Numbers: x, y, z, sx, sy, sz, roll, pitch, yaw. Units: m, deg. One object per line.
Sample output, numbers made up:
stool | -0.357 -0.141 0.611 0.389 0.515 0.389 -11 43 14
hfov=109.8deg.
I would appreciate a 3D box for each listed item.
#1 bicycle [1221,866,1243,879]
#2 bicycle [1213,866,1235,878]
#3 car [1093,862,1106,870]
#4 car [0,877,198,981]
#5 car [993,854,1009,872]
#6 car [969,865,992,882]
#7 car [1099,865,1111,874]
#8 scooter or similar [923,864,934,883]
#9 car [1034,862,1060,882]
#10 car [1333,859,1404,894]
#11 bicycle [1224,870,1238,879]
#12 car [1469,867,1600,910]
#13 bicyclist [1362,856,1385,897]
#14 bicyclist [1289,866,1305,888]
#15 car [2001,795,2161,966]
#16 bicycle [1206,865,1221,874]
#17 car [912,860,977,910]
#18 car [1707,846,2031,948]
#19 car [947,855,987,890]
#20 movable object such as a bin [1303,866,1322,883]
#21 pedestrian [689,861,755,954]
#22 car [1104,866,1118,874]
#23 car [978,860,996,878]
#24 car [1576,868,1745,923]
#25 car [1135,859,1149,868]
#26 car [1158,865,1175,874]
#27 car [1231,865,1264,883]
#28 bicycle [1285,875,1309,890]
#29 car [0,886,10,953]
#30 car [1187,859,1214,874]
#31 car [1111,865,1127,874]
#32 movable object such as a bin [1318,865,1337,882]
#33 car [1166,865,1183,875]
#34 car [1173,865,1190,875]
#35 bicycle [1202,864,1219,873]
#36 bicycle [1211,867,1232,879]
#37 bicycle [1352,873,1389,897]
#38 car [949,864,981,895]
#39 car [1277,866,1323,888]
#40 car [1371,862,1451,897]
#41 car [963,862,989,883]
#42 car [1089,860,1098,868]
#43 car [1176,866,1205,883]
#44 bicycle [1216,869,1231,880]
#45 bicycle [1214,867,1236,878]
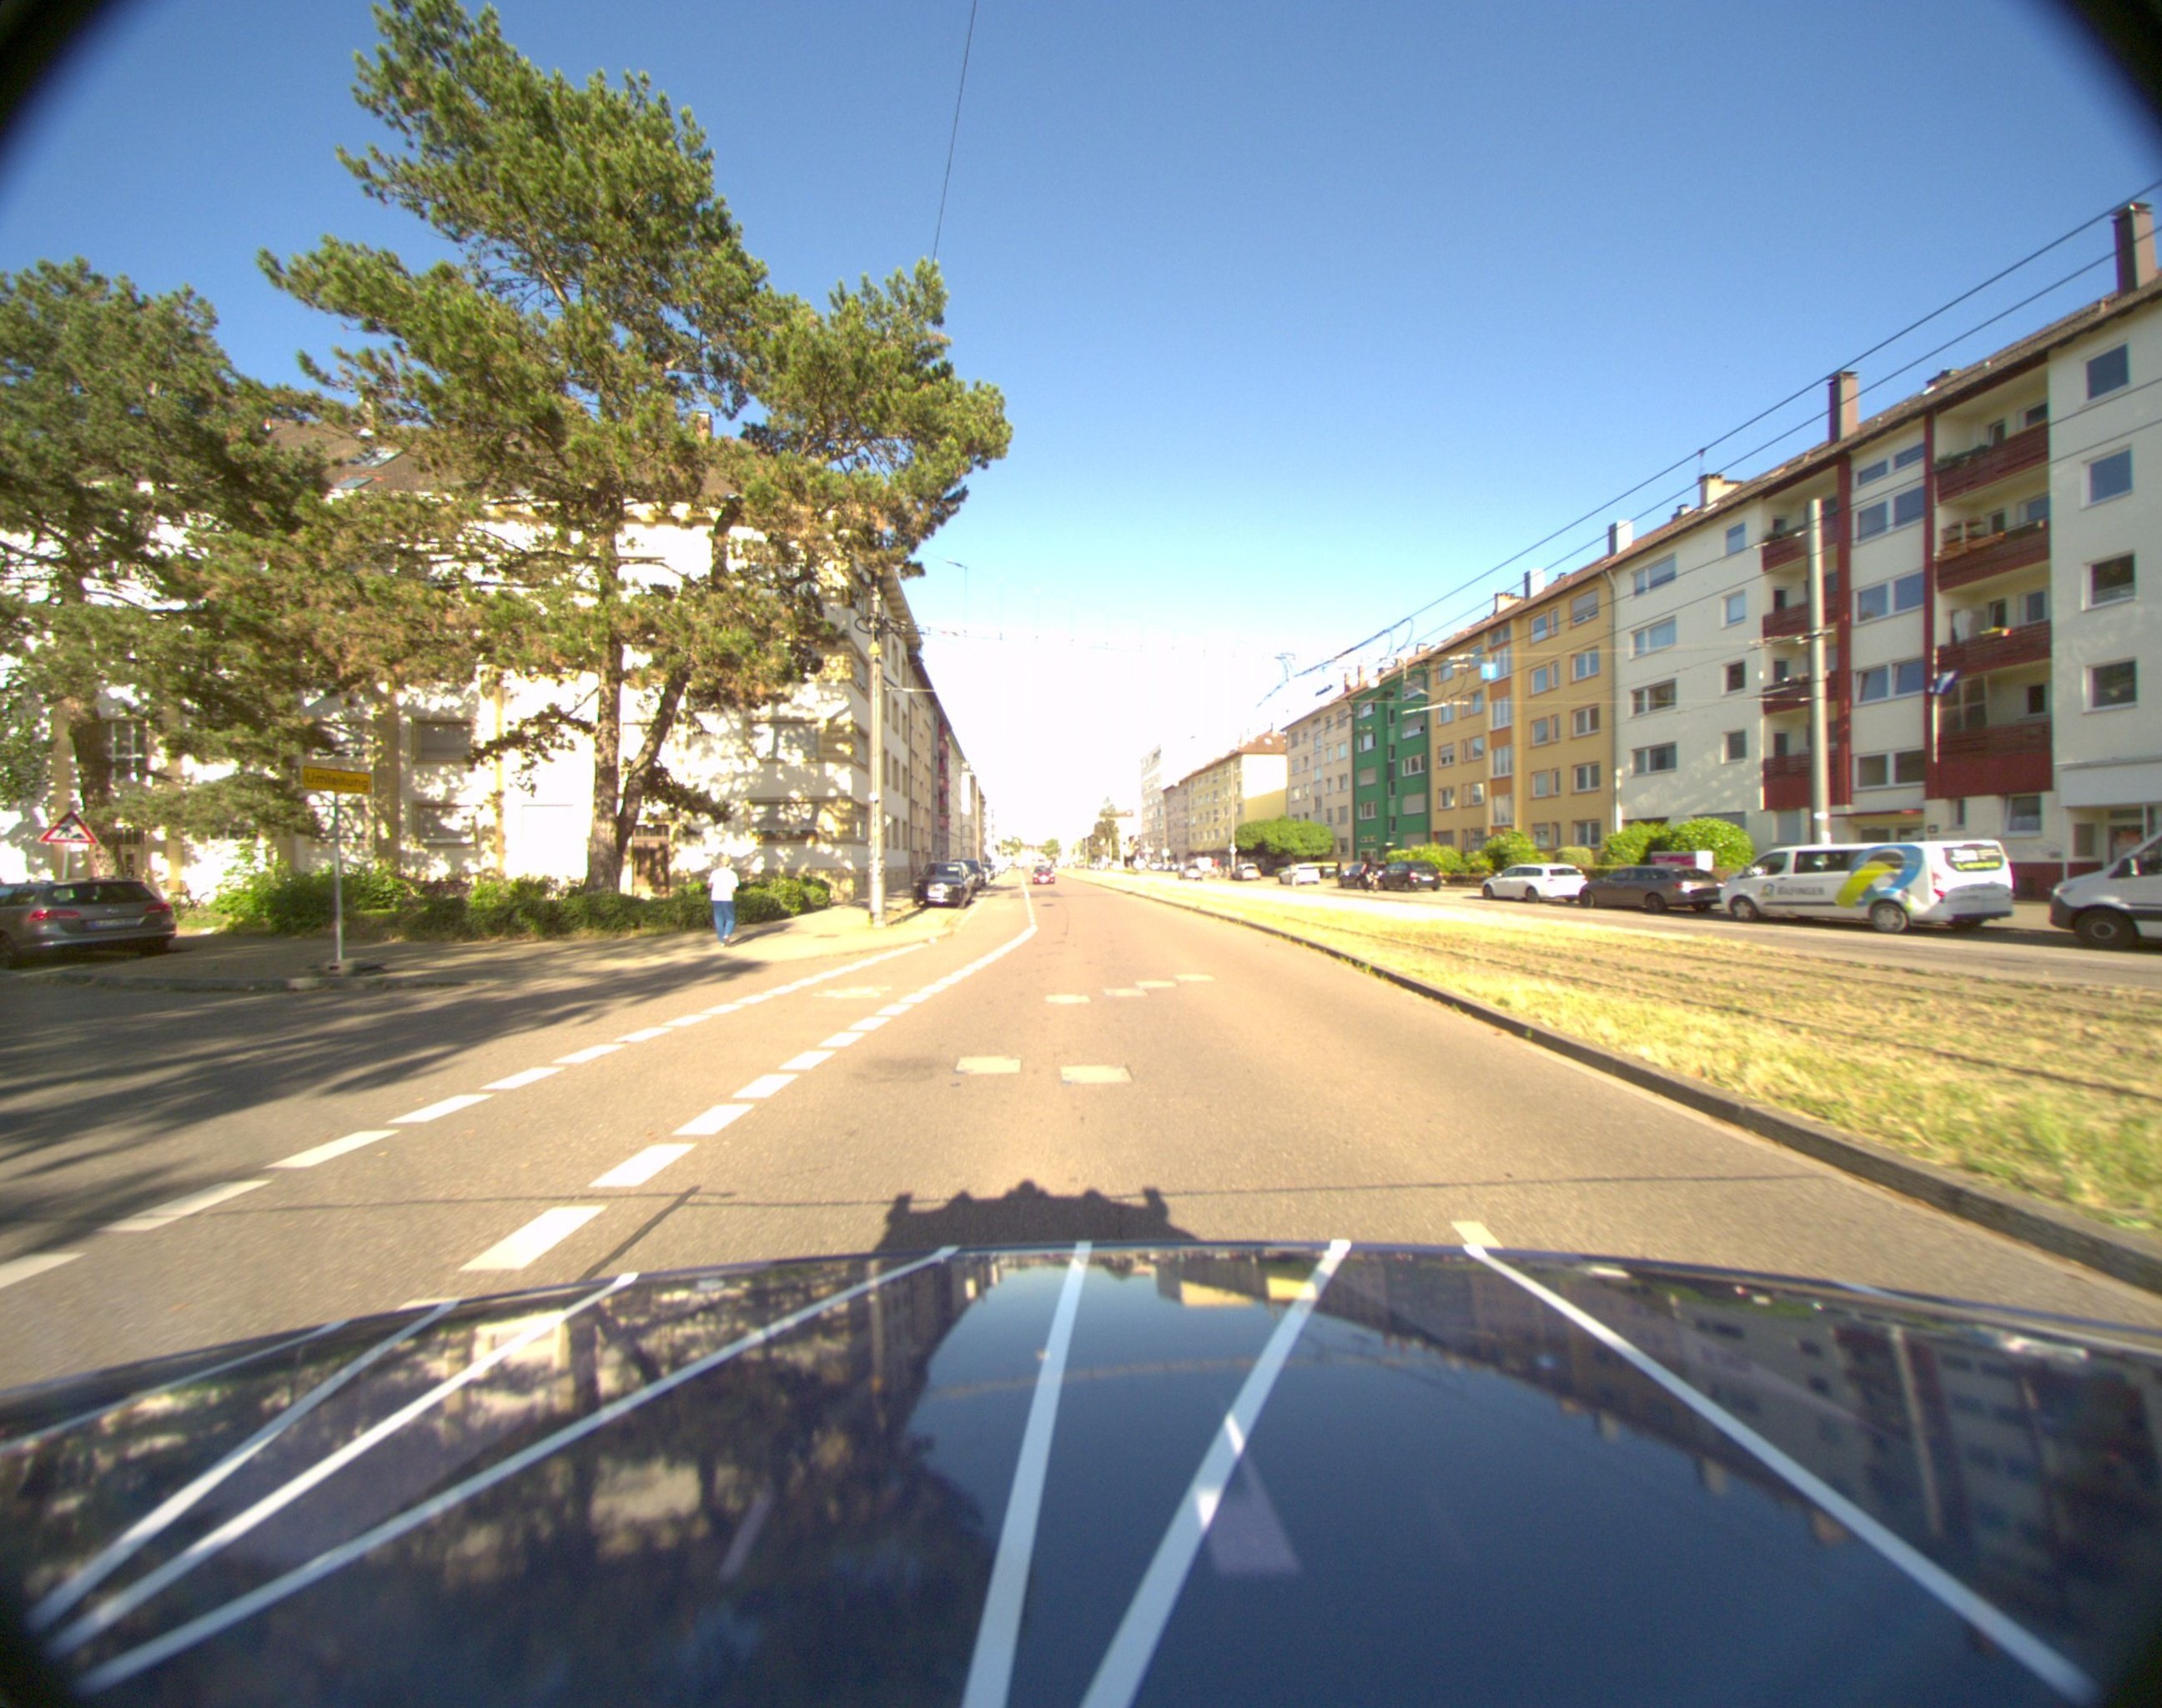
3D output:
bicycle | 14.883 1.821 74.901 2.050 1.086 0.616 -3 0 22
bicycle | 14.496 1.802 76.924 2.053 1.086 0.615 -3 0 1
car | 3.625 2.407 151.423 1.862 1.541 4.238 2 -1 -7
car | -18.437 1.252 13.696 4.295 1.493 1.771 0 3 19
car | -12.333 1.389 117.183 2.157 2.680 6.289 2 -1 -5
car | -8.405 1.608 64.006 1.707 1.268 4.301 3 -1 -5
car | 4.546 2.920 144.847 1.788 1.572 4.606 1 -1 -5
scooter or similar | -10.032 1.290 49.894 0.460 1.231 1.338 3 -1 -4
car | -2.609 1.341 57.235 1.863 1.461 3.807 0 -1 -4
car | 16.632 1.277 44.271 1.999 1.827 4.608 -3 0 -5
bicycle | 14.593 2.027 73.789 0.377 0.860 2.052 -3 0 -16
car | 17.605 1.285 29.820 1.898 1.482 4.701 -2 -1 -7
bicyclist | 14.846 1.138 38.608 0.775 2.002 0.648 -3 0 -5
bicyclist | 13.857 1.489 48.778 0.775 1.375 0.648 0 0 -5
car | 19.144 0.401 11.731 2.038 2.851 6.226 -2 -1 -4
bicycle | 17.021 2.012 97.732 1.824 1.099 0.390 -3 0 -4
car | -5.182 1.120 29.458 1.884 1.706 4.932 2 -1 -4
car | 18.610 0.922 18.484 2.038 2.009 5.369 -3 0 -4
car | -6.684 1.054 44.993 1.919 1.888 5.133 3 -1 -5
movable object such as a bin | 19.278 1.691 63.274 1.150 1.360 1.039 -3 0 -2
pedestrian | -6.789 0.992 14.407 0.882 1.712 0.725 0 -1 1
car | 5.403 2.891 137.667 1.789 1.519 4.412 1 -1 -10
car | -9.256 1.486 74.792 1.641 1.637 4.371 2 -1 -7
car | 18.187 1.244 24.145 1.700 1.506 4.324 -1 -1 -7
car | 12.548 1.954 156.609 2.000 1.886 4.668 -3 0 -7
car | 14.177 2.623 126.394 1.788 1.376 4.413 -3 0 -7
car | 14.777 1.777 67.543 1.640 1.433 3.732 -3 0 -7
bicycle | 13.868 1.837 48.837 0.770 0.874 2.068 1 -1 -4
car | -25.832 1.410 16.595 3.903 1.461 1.772 0 -1 19
car | 16.278 1.748 103.819 2.000 1.937 5.497 -3 0 -8
car | 6.512 2.685 131.047 1.840 1.376 4.411 1 -1 -11
movable object such as a bin | 20.575 1.624 63.334 1.150 1.360 1.039 -3 0 -2
car | 14.848 2.534 120.680 1.788 1.412 4.413 -3 0 -5
car | 15.275 2.369 115.372 1.788 1.376 3.767 -3 0 -5
bicycle | 16.979 1.934 99.675 2.104 1.099 0.472 -3 0 -4
bicycle | 14.499 1.976 78.532 2.053 1.086 0.615 -3 0 1
bicycle | 14.784 1.546 38.839 0.770 1.139 2.474 1 -1 -4
car | -6.038 1.290 39.832 1.515 1.469 4.236 1 -1 -7
car | 15.735 1.625 54.847 1.734 1.446 4.374 -2 -1 -4
car | 16.988 1.282 39.372 1.999 1.598 4.149 -3 0 -5
car | -7.800 1.374 56.573 1.640 1.445 3.788 2 -1 -4
car | 2.677 2.134 162.716 1.618 1.549 3.999 1 -1 -5
car | 9.661 1.752 67.380 1.699 1.439 4.216 1 -1 -4
bicycle | 13.812 1.974 73.579 0.511 1.086 1.933 -3 0 -16
bicycle | 14.481 1.855 76.268 2.053 1.086 0.615 -3 0 1
